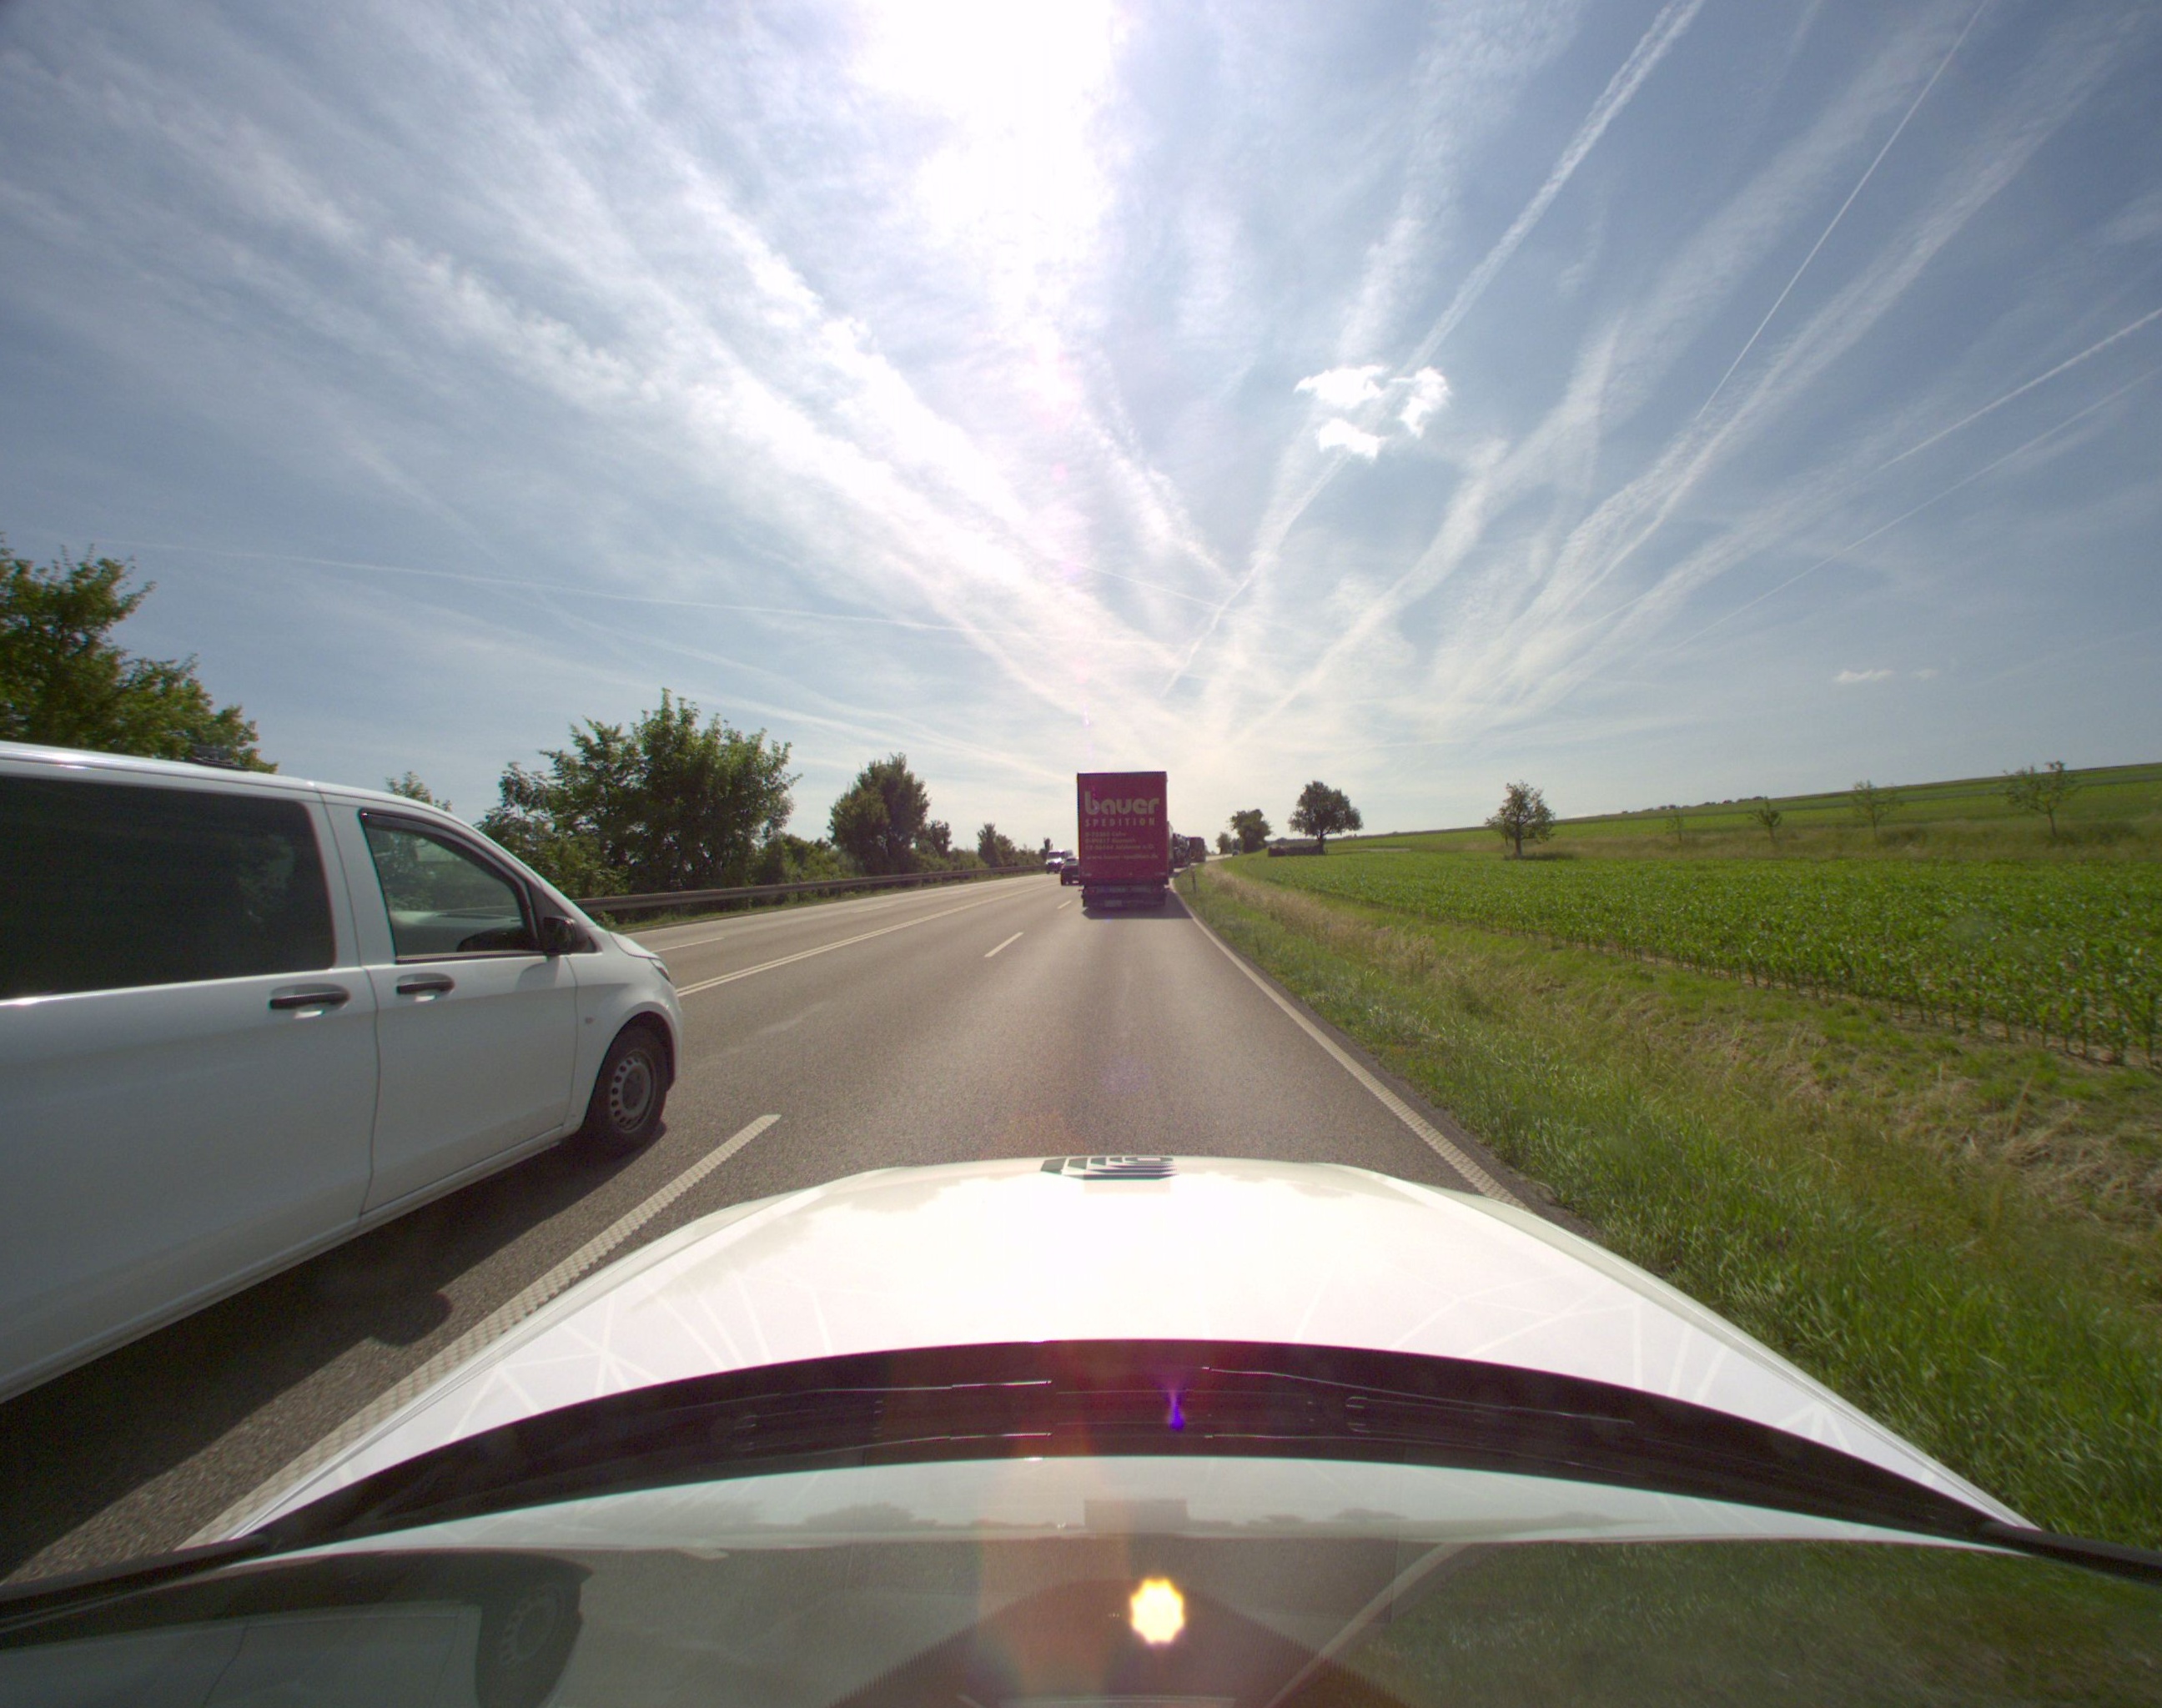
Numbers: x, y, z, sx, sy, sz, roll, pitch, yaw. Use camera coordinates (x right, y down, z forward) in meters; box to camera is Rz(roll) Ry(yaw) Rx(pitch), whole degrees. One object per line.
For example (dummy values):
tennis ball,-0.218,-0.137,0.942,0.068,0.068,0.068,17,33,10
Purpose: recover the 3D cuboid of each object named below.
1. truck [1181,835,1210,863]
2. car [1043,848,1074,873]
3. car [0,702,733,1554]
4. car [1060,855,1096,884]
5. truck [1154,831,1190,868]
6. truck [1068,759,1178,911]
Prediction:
truck,18.468,-0.790,129.777,3.026,3.910,18.461,-2,0,12
car,-2.170,0.636,81.200,2.077,2.395,5.857,-2,-1,8
car,-3.324,0.623,2.608,1.898,1.884,5.434,-1,0,2
car,-0.130,0.863,46.012,1.515,1.581,4.007,0,-1,7
truck,11.024,-0.541,96.785,3.028,3.910,15.660,-2,0,10
truck,1.718,-0.515,31.030,2.994,4.180,16.731,-1,0,4
